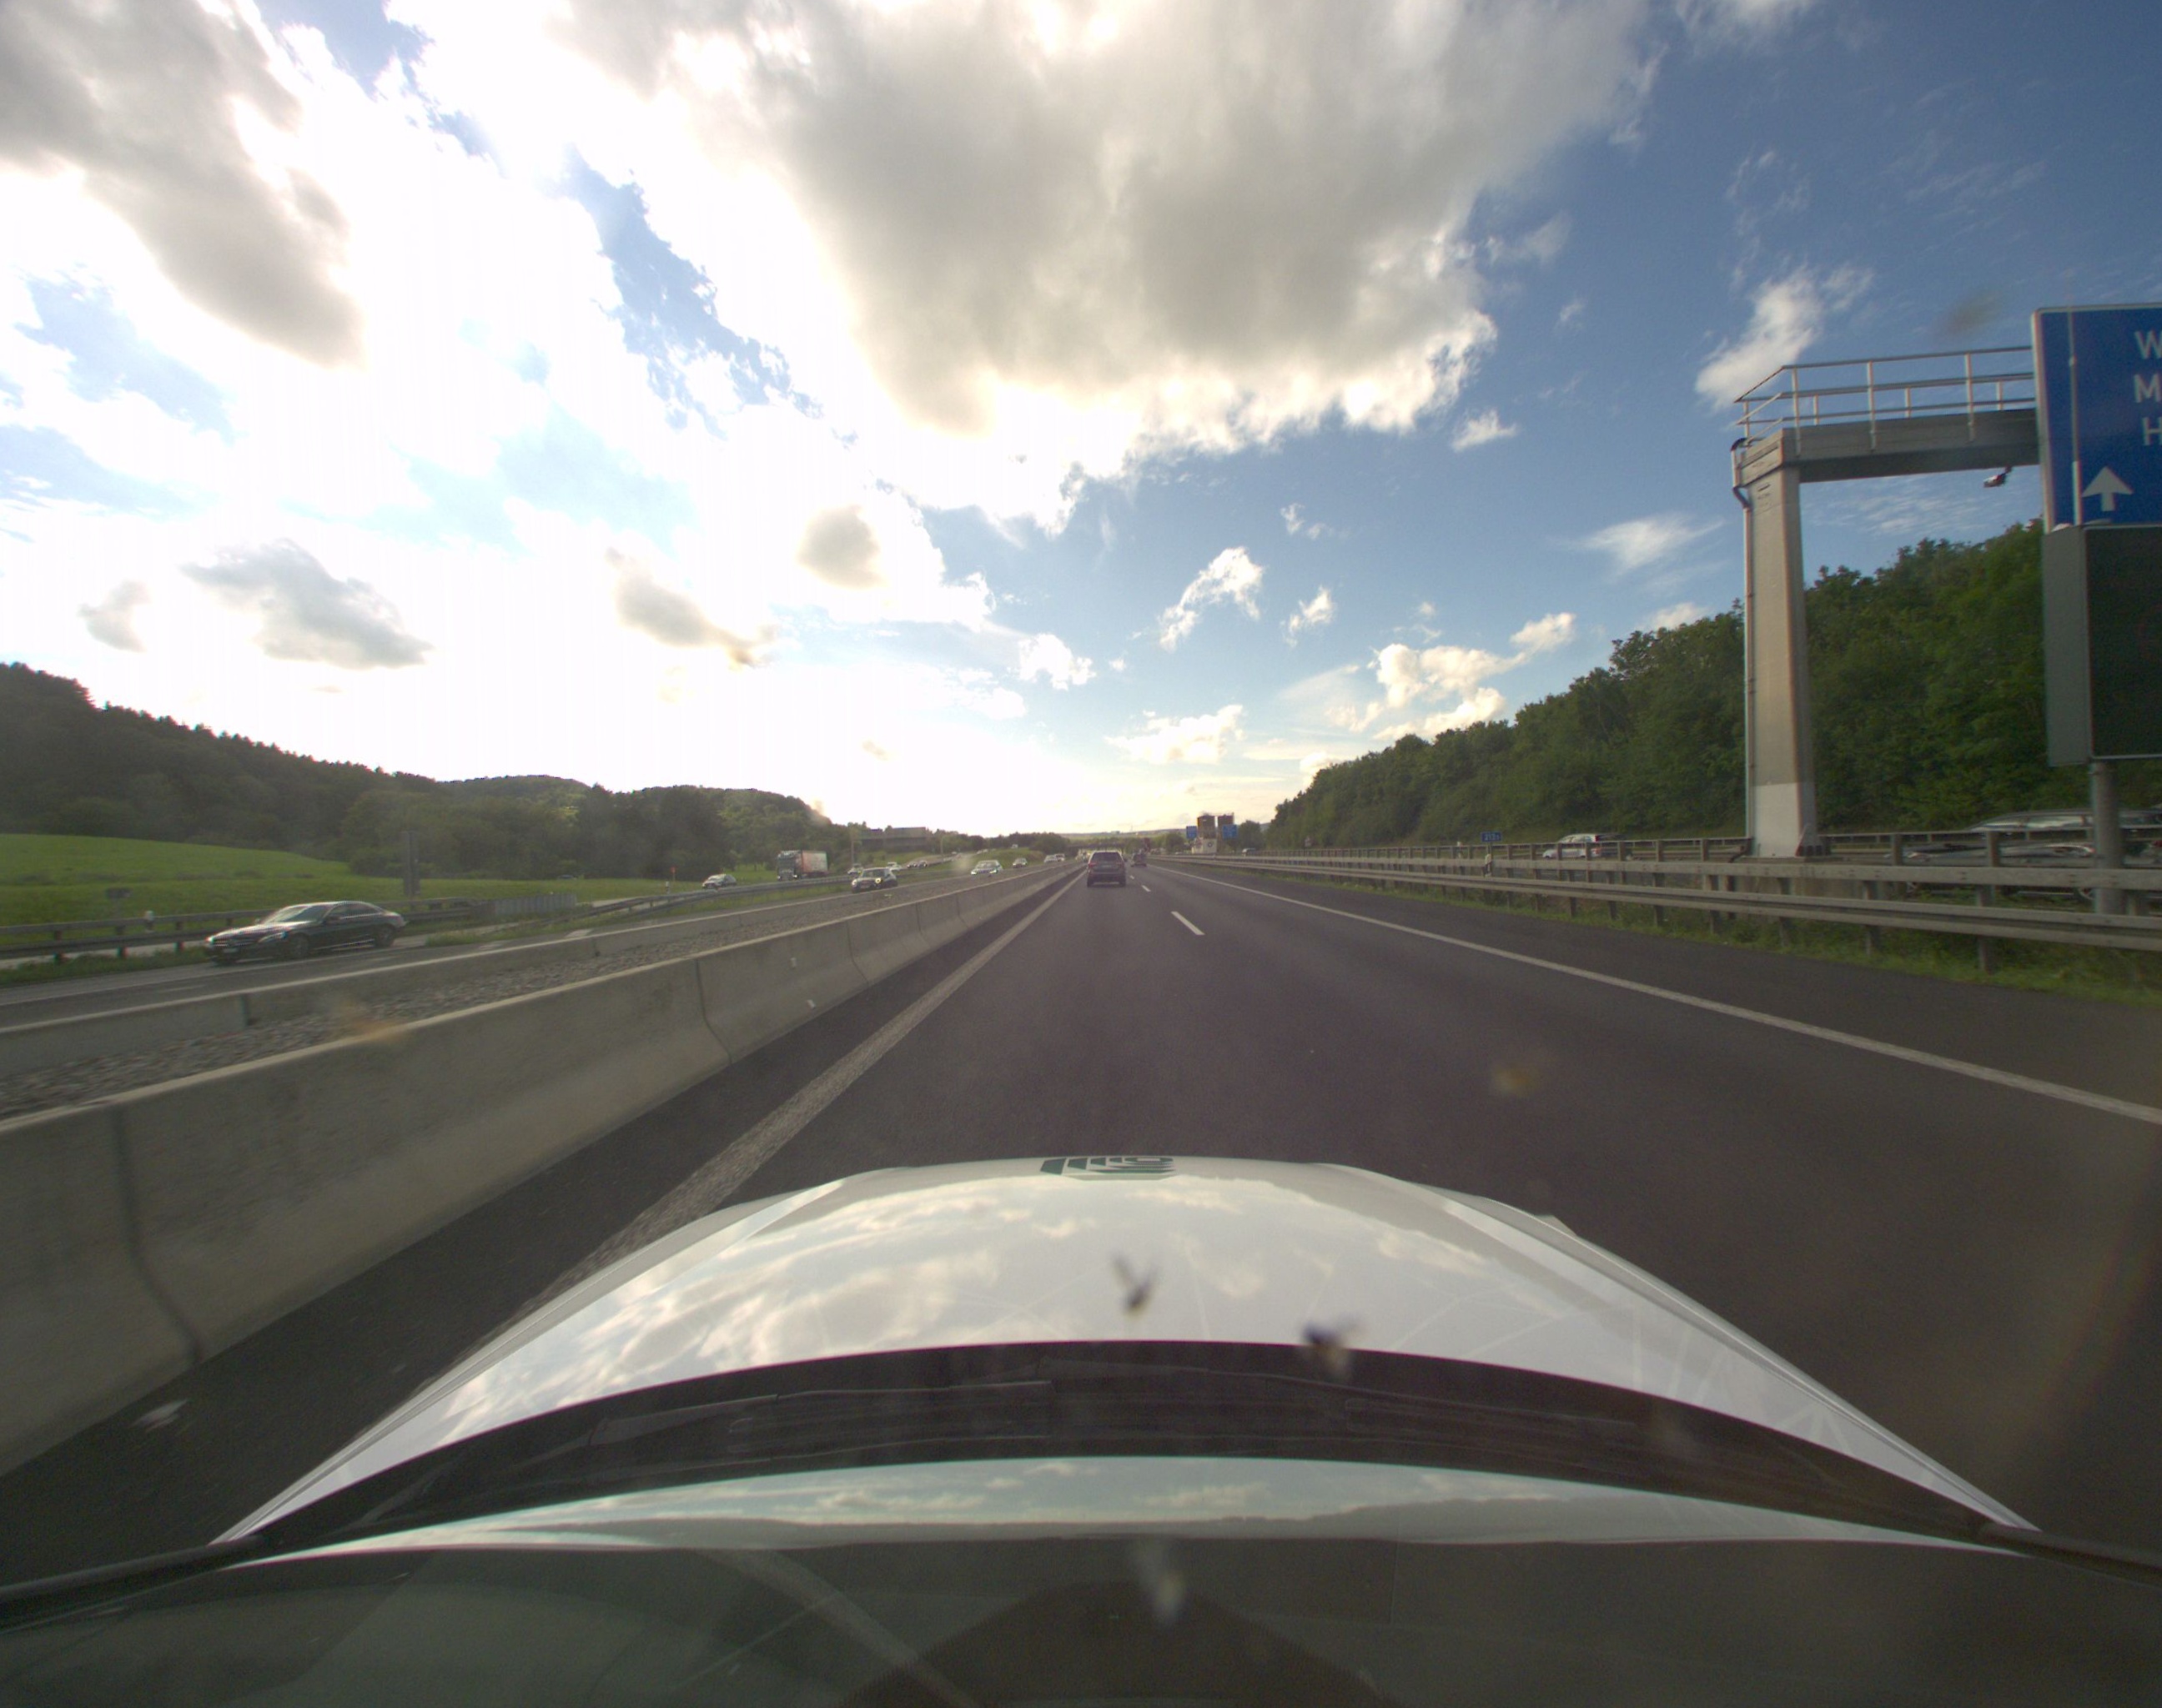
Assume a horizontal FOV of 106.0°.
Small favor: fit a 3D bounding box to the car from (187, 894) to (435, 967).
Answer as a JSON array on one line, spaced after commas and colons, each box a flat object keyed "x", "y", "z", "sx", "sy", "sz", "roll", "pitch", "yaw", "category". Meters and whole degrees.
[{"x": -20.823, "y": 1.993, "z": 22.423, "sx": 1.987, "sy": 1.451, "sz": 5.002, "roll": -3, "pitch": 0, "yaw": 0, "category": "car"}]

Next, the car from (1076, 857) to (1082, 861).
[{"x": -0.652, "y": 1.605, "z": 258.215, "sx": 1.636, "sy": 1.398, "sz": 3.742, "roll": -3, "pitch": 0, "yaw": 1, "category": "car"}]

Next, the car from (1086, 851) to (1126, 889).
[{"x": 1.268, "y": 0.756, "z": 39.481, "sx": 1.742, "sy": 1.630, "sz": 3.611, "roll": -3, "pitch": 0, "yaw": 3, "category": "car"}]

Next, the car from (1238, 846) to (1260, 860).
[{"x": 21.921, "y": -0.136, "z": 106.275, "sx": 1.986, "sy": 1.717, "sz": 4.001, "roll": -3, "pitch": 0, "yaw": 2, "category": "car"}]

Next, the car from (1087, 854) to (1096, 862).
[{"x": 2.915, "y": 1.048, "z": 220.407, "sx": 2.160, "sy": 1.843, "sz": 4.003, "roll": -3, "pitch": 0, "yaw": 3, "category": "car"}]

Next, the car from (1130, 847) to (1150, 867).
[{"x": 6.865, "y": 0.355, "z": 95.100, "sx": 1.986, "sy": 2.080, "sz": 4.001, "roll": -3, "pitch": 0, "yaw": 2, "category": "car"}]

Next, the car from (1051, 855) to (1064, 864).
[{"x": -4.288, "y": 0.949, "z": 150.478, "sx": 1.986, "sy": 1.532, "sz": 5.749, "roll": -3, "pitch": 0, "yaw": 1, "category": "car"}]

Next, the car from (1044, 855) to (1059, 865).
[{"x": -4.607, "y": 0.964, "z": 128.490, "sx": 1.986, "sy": 1.532, "sz": 5.022, "roll": -3, "pitch": 0, "yaw": 1, "category": "car"}]

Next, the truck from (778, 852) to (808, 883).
[{"x": -36.607, "y": 1.670, "z": 103.699, "sx": 1.989, "sy": 3.761, "sz": 5.144, "roll": -3, "pitch": 0, "yaw": -3, "category": "truck"}]

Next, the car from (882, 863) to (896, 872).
[{"x": -37.599, "y": 2.651, "z": 159.667, "sx": 1.769, "sy": 1.548, "sz": 4.883, "roll": -3, "pitch": 0, "yaw": -4, "category": "car"}]

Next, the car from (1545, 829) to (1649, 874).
[{"x": 22.221, "y": -0.081, "z": 35.286, "sx": 1.986, "sy": 1.708, "sz": 4.001, "roll": -3, "pitch": 0, "yaw": 2, "category": "car"}]

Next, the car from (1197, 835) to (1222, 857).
[{"x": 24.048, "y": -1.441, "z": 153.101, "sx": 3.563, "sy": 3.676, "sz": 7.551, "roll": -3, "pitch": 0, "yaw": 2, "category": "car"}]

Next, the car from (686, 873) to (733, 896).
[{"x": -31.101, "y": 2.521, "z": 68.318, "sx": 1.794, "sy": 1.618, "sz": 4.303, "roll": -3, "pitch": 0, "yaw": 2, "category": "car"}]

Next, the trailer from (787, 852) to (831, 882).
[{"x": -36.905, "y": 1.747, "z": 111.065, "sx": 1.989, "sy": 3.737, "sz": 13.232, "roll": -3, "pitch": 0, "yaw": -2, "category": "trailer"}]

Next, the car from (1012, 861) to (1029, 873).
[{"x": -8.702, "y": 1.906, "z": 117.851, "sx": 1.986, "sy": 1.532, "sz": 4.508, "roll": -3, "pitch": 0, "yaw": 1, "category": "car"}]

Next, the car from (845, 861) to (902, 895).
[{"x": -11.165, "y": 1.274, "z": 44.148, "sx": 1.794, "sy": 1.618, "sz": 4.303, "roll": -3, "pitch": 0, "yaw": 2, "category": "car"}]

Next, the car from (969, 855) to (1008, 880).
[{"x": -6.618, "y": 0.916, "z": 58.635, "sx": 1.920, "sy": 1.618, "sz": 5.421, "roll": -3, "pitch": 0, "yaw": 2, "category": "car"}]

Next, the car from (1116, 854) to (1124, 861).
[{"x": 10.057, "y": 0.905, "z": 212.016, "sx": 1.968, "sy": 1.779, "sz": 4.121, "roll": -3, "pitch": 0, "yaw": 1, "category": "car"}]

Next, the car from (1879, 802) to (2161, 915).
[{"x": 15.242, "y": 0.027, "z": 12.537, "sx": 1.987, "sy": 1.484, "sz": 4.000, "roll": -2, "pitch": 0, "yaw": 1, "category": "car"}]

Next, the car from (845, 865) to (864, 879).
[{"x": -34.066, "y": 2.735, "z": 122.784, "sx": 1.769, "sy": 1.897, "sz": 4.393, "roll": -3, "pitch": 0, "yaw": -3, "category": "car"}]
